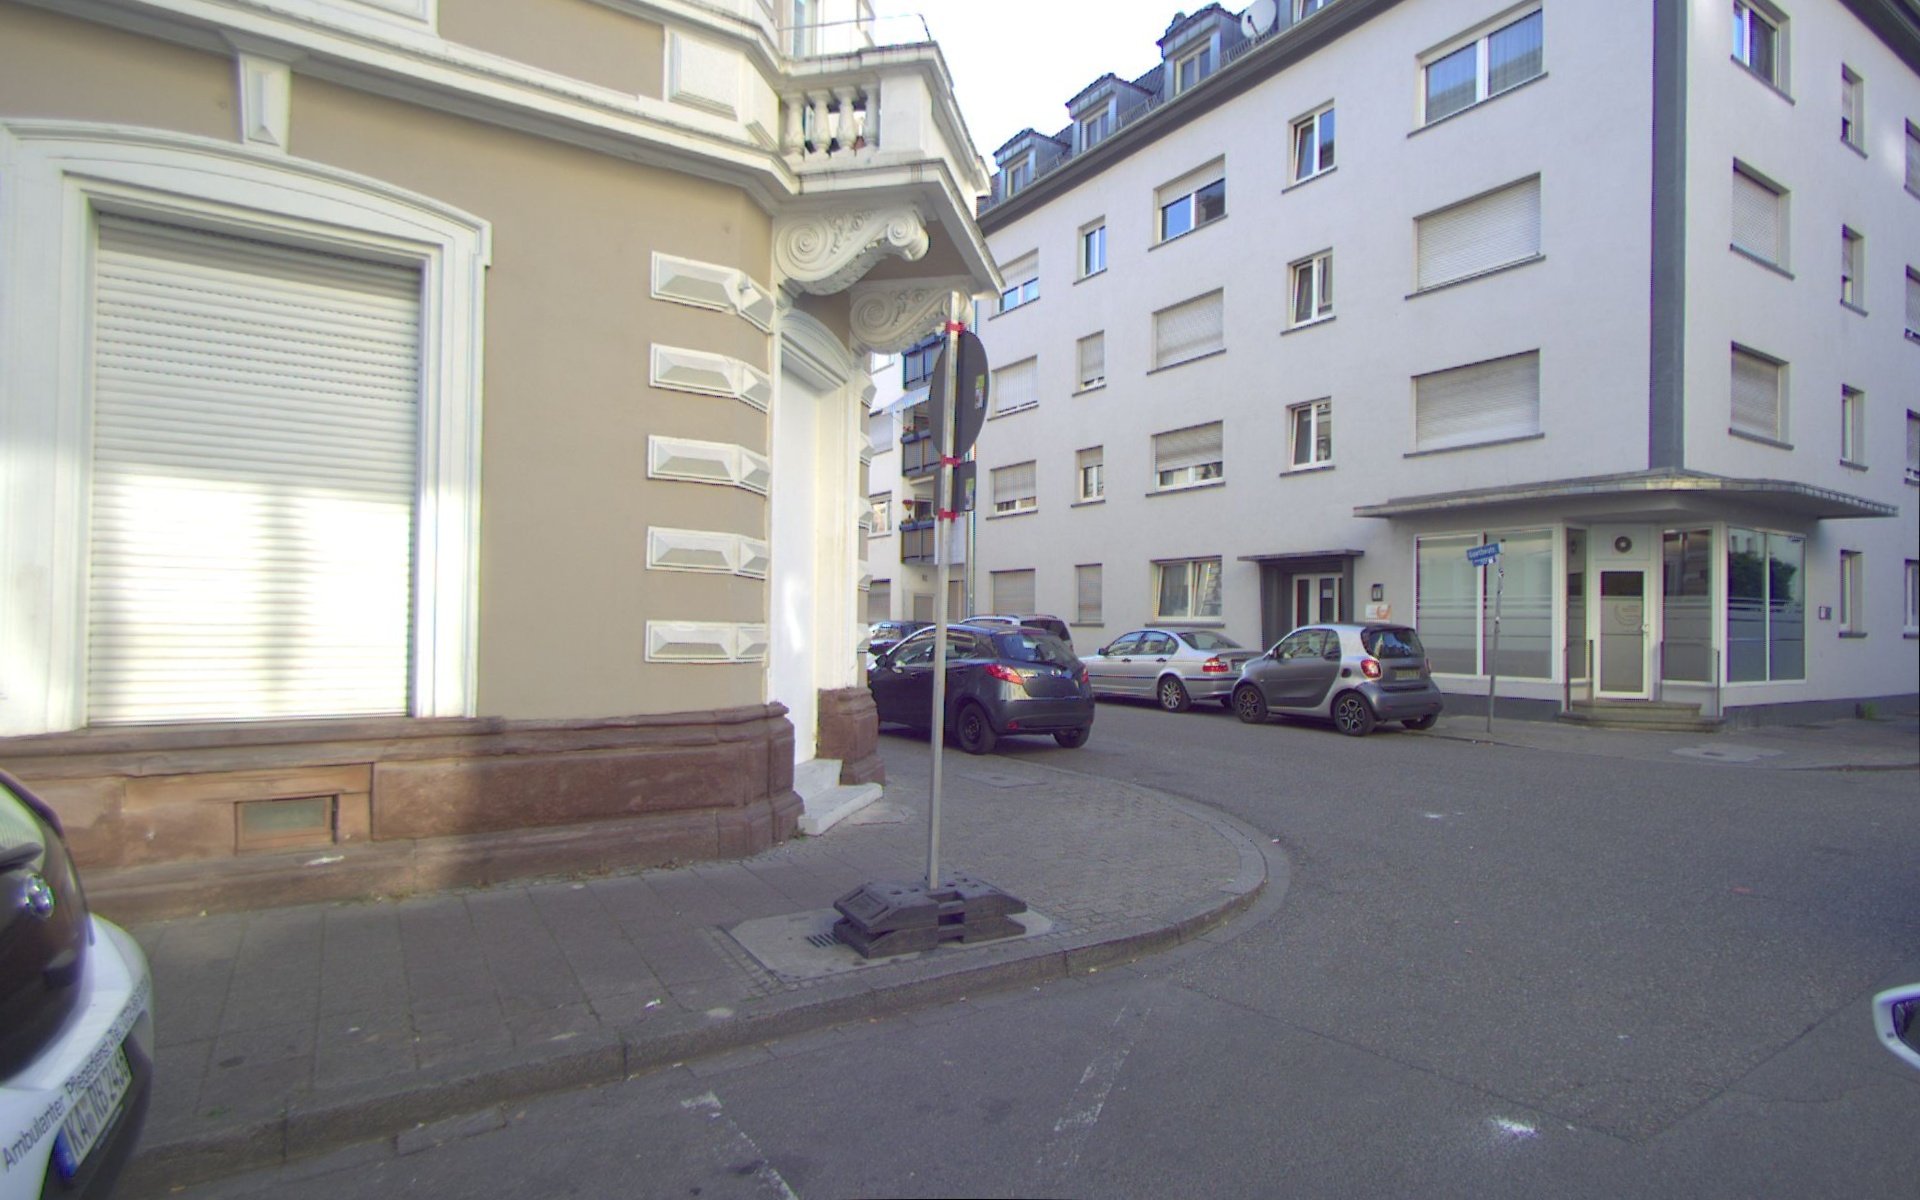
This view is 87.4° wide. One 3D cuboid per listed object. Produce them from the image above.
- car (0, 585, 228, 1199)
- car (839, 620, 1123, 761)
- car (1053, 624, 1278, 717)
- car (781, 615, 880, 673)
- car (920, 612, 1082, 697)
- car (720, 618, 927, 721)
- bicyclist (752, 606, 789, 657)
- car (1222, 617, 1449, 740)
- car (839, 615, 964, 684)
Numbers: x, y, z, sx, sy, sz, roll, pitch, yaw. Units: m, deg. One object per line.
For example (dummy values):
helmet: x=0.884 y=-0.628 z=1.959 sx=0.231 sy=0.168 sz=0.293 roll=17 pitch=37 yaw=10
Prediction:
car: x=-3.434 y=0.763 z=0.965 sx=4.218 sy=1.527 sz=1.911 roll=1 pitch=-3 yaw=-31
car: x=0.129 y=1.002 z=12.571 sx=1.713 sy=1.470 sz=3.639 roll=1 pitch=-1 yaw=-36
car: x=3.623 y=1.200 z=18.422 sx=1.586 sy=1.422 sz=4.179 roll=2 pitch=-1 yaw=-33
car: x=-3.947 y=1.288 z=30.272 sx=1.586 sy=1.560 sz=3.470 roll=1 pitch=0 yaw=-33
car: x=0.821 y=1.148 z=22.485 sx=1.586 sy=1.626 sz=3.993 roll=1 pitch=0 yaw=-33
car: x=-2.427 y=1.059 z=16.847 sx=1.884 sy=1.481 sz=4.286 roll=1 pitch=-1 yaw=-32
bicyclist: x=-5.513 y=0.918 z=29.224 sx=0.727 sy=1.431 sz=0.932 roll=2 pitch=0 yaw=-33
car: x=5.487 y=1.086 z=14.914 sx=1.576 sy=1.560 sz=2.771 roll=1 pitch=0 yaw=-31
car: x=-1.599 y=1.241 z=26.293 sx=1.587 sy=1.560 sz=3.685 roll=1 pitch=0 yaw=-34
